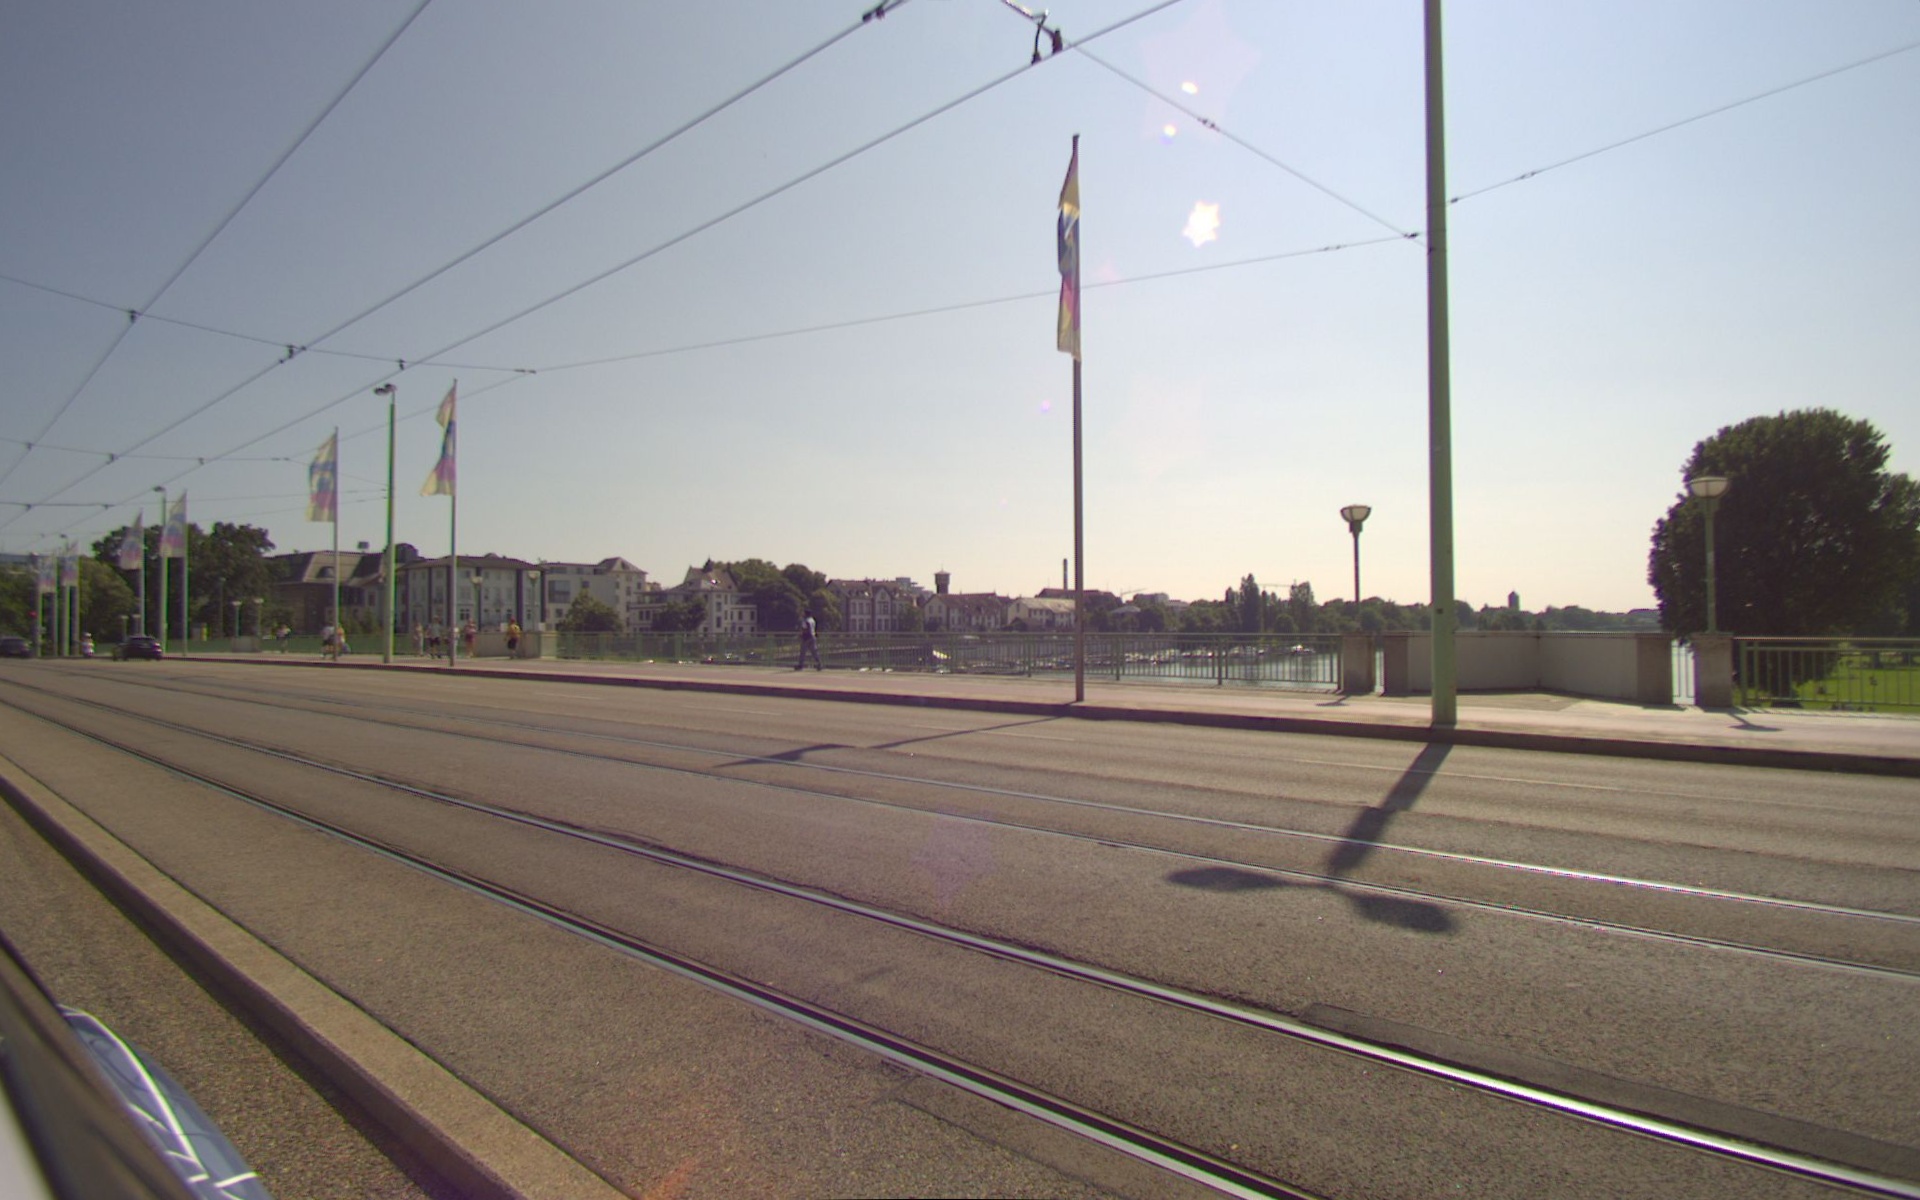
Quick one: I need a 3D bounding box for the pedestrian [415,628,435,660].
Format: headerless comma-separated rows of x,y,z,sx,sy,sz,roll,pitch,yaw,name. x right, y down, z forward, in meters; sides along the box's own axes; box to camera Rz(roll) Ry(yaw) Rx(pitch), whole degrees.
-24.873,2.052,47.065,0.788,1.448,0.540,-2,0,41,pedestrian

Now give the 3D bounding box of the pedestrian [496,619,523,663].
-18.061,1.642,40.590,1.022,1.712,0.584,-2,0,41,pedestrian

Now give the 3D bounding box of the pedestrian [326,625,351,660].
-31.180,2.125,50.766,1.022,1.712,0.777,-2,0,41,pedestrian

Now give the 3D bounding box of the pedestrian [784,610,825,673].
-4.393,1.167,28.605,1.022,1.712,0.584,-2,0,41,pedestrian

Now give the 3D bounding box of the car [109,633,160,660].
-47.325,2.648,58.013,3.999,1.447,1.650,-1,-2,42,car

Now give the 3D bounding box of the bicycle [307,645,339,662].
-29.218,2.454,46.399,2.172,0.721,0.658,-2,-2,42,bicycle

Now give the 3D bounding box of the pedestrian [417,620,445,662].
-22.293,1.714,42.642,1.022,1.712,0.663,-2,0,41,pedestrian

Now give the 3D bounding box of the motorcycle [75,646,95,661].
-59.577,3.618,68.905,2.144,0.895,0.725,-2,2,41,motorcycle

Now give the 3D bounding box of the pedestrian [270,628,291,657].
-40.753,2.544,60.706,1.022,1.712,0.777,-2,0,41,pedestrian

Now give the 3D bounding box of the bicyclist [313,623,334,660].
-29.110,1.904,46.314,0.621,1.663,0.657,-2,-2,42,bicyclist

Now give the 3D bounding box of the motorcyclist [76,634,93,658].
-59.622,3.125,68.917,0.728,1.524,0.730,-2,2,40,motorcyclist

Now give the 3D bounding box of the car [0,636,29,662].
-69.511,3.542,73.993,3.999,1.709,1.692,-2,2,42,car

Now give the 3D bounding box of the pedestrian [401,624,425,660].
-25.111,1.933,46.428,1.022,1.611,0.619,-2,0,41,pedestrian

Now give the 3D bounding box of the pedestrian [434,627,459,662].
-21.861,1.890,43.050,1.022,1.425,0.584,-2,0,41,pedestrian

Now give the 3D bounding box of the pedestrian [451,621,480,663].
-20.590,1.738,42.135,1.022,1.703,0.677,-2,0,41,pedestrian
